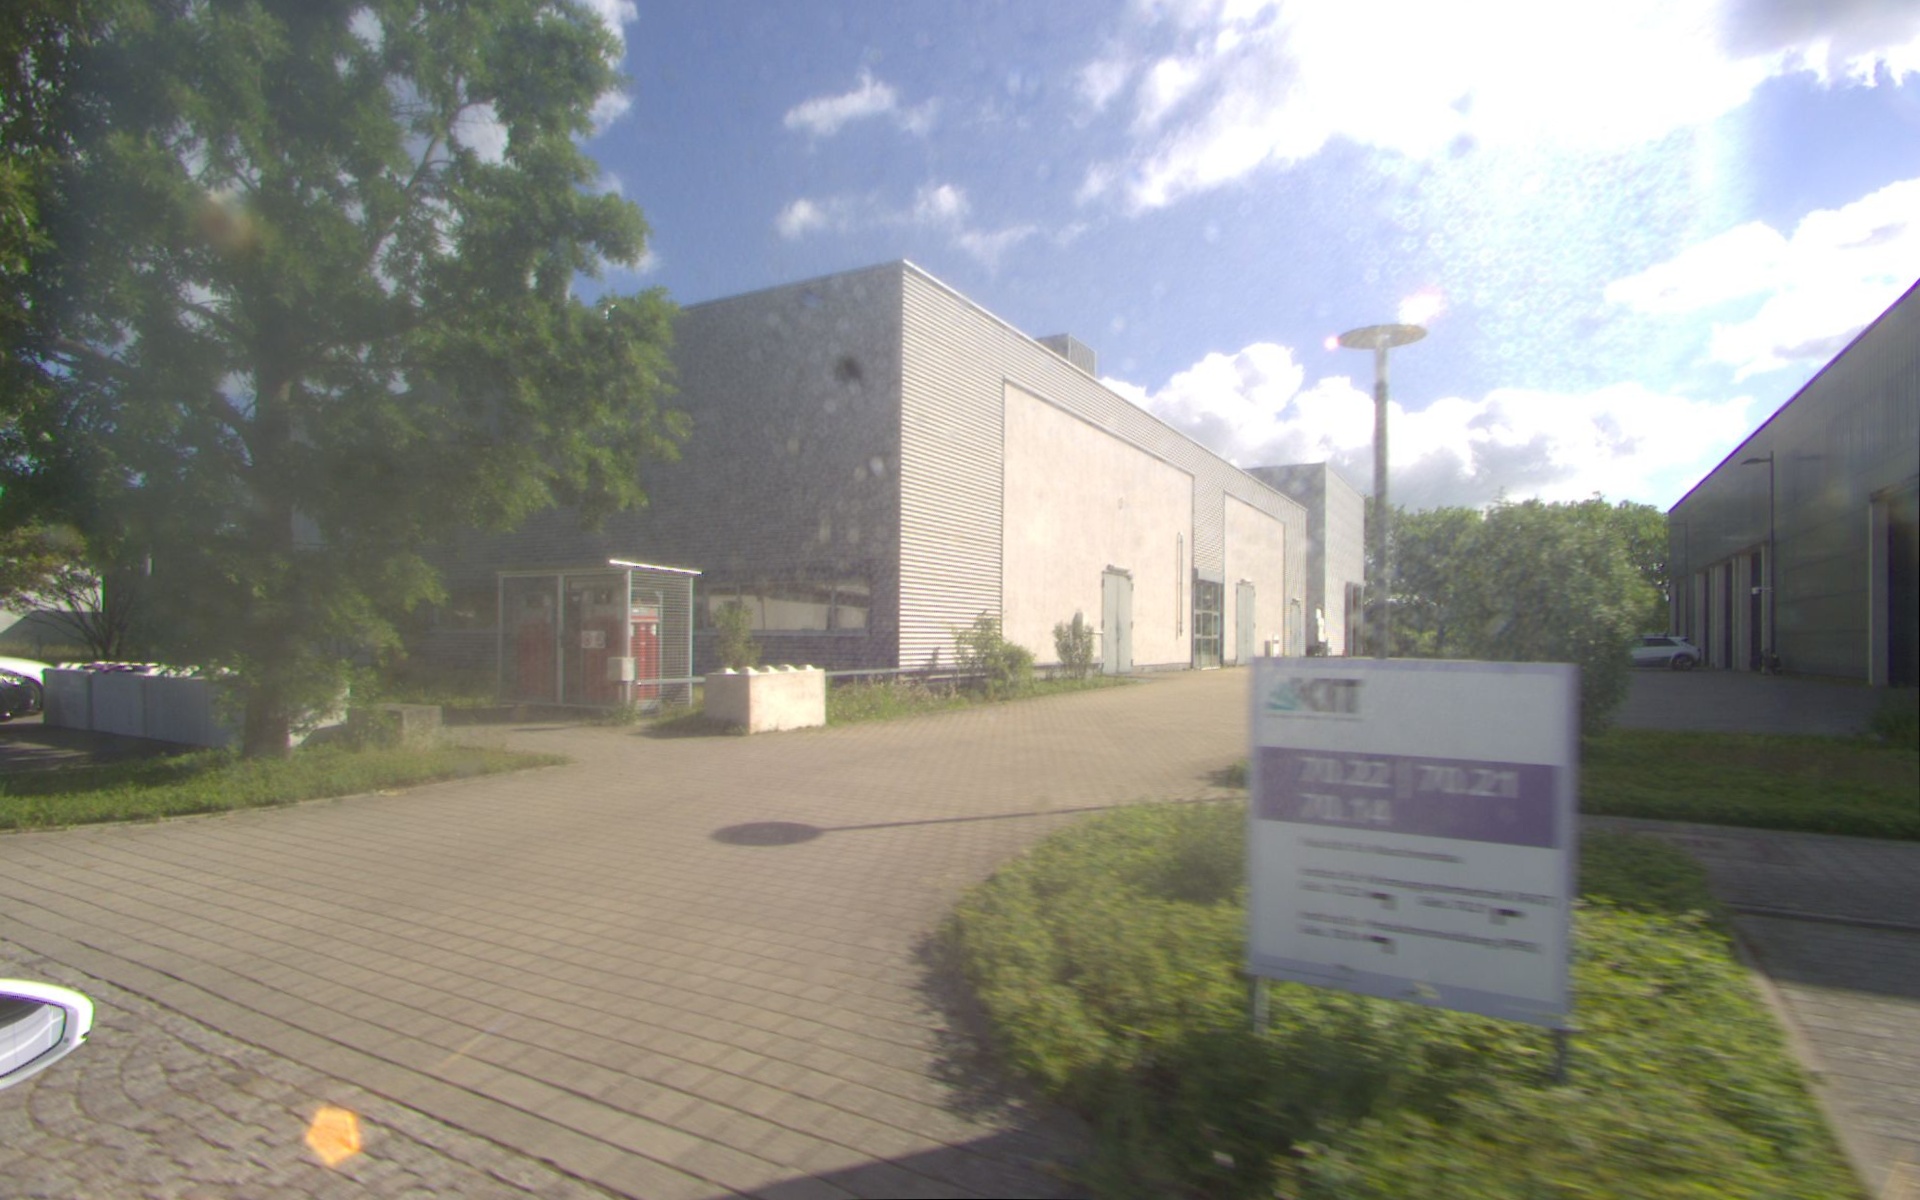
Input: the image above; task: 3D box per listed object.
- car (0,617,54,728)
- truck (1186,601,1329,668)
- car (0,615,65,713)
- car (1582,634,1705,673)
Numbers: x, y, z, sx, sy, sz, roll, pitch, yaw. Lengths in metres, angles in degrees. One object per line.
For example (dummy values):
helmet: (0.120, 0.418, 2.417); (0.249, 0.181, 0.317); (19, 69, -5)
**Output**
car: (-14.171, 0.937, 11.939); (1.730, 1.441, 4.714); (0, -1, 29)
truck: (18.125, 2.097, 61.246); (7.984, 3.866, 2.639); (-1, -2, 31)
car: (-15.843, 0.957, 14.435); (1.668, 1.479, 4.126); (0, -1, 35)
car: (31.562, 2.458, 46.419); (4.510, 1.684, 1.992); (0, -2, 29)
